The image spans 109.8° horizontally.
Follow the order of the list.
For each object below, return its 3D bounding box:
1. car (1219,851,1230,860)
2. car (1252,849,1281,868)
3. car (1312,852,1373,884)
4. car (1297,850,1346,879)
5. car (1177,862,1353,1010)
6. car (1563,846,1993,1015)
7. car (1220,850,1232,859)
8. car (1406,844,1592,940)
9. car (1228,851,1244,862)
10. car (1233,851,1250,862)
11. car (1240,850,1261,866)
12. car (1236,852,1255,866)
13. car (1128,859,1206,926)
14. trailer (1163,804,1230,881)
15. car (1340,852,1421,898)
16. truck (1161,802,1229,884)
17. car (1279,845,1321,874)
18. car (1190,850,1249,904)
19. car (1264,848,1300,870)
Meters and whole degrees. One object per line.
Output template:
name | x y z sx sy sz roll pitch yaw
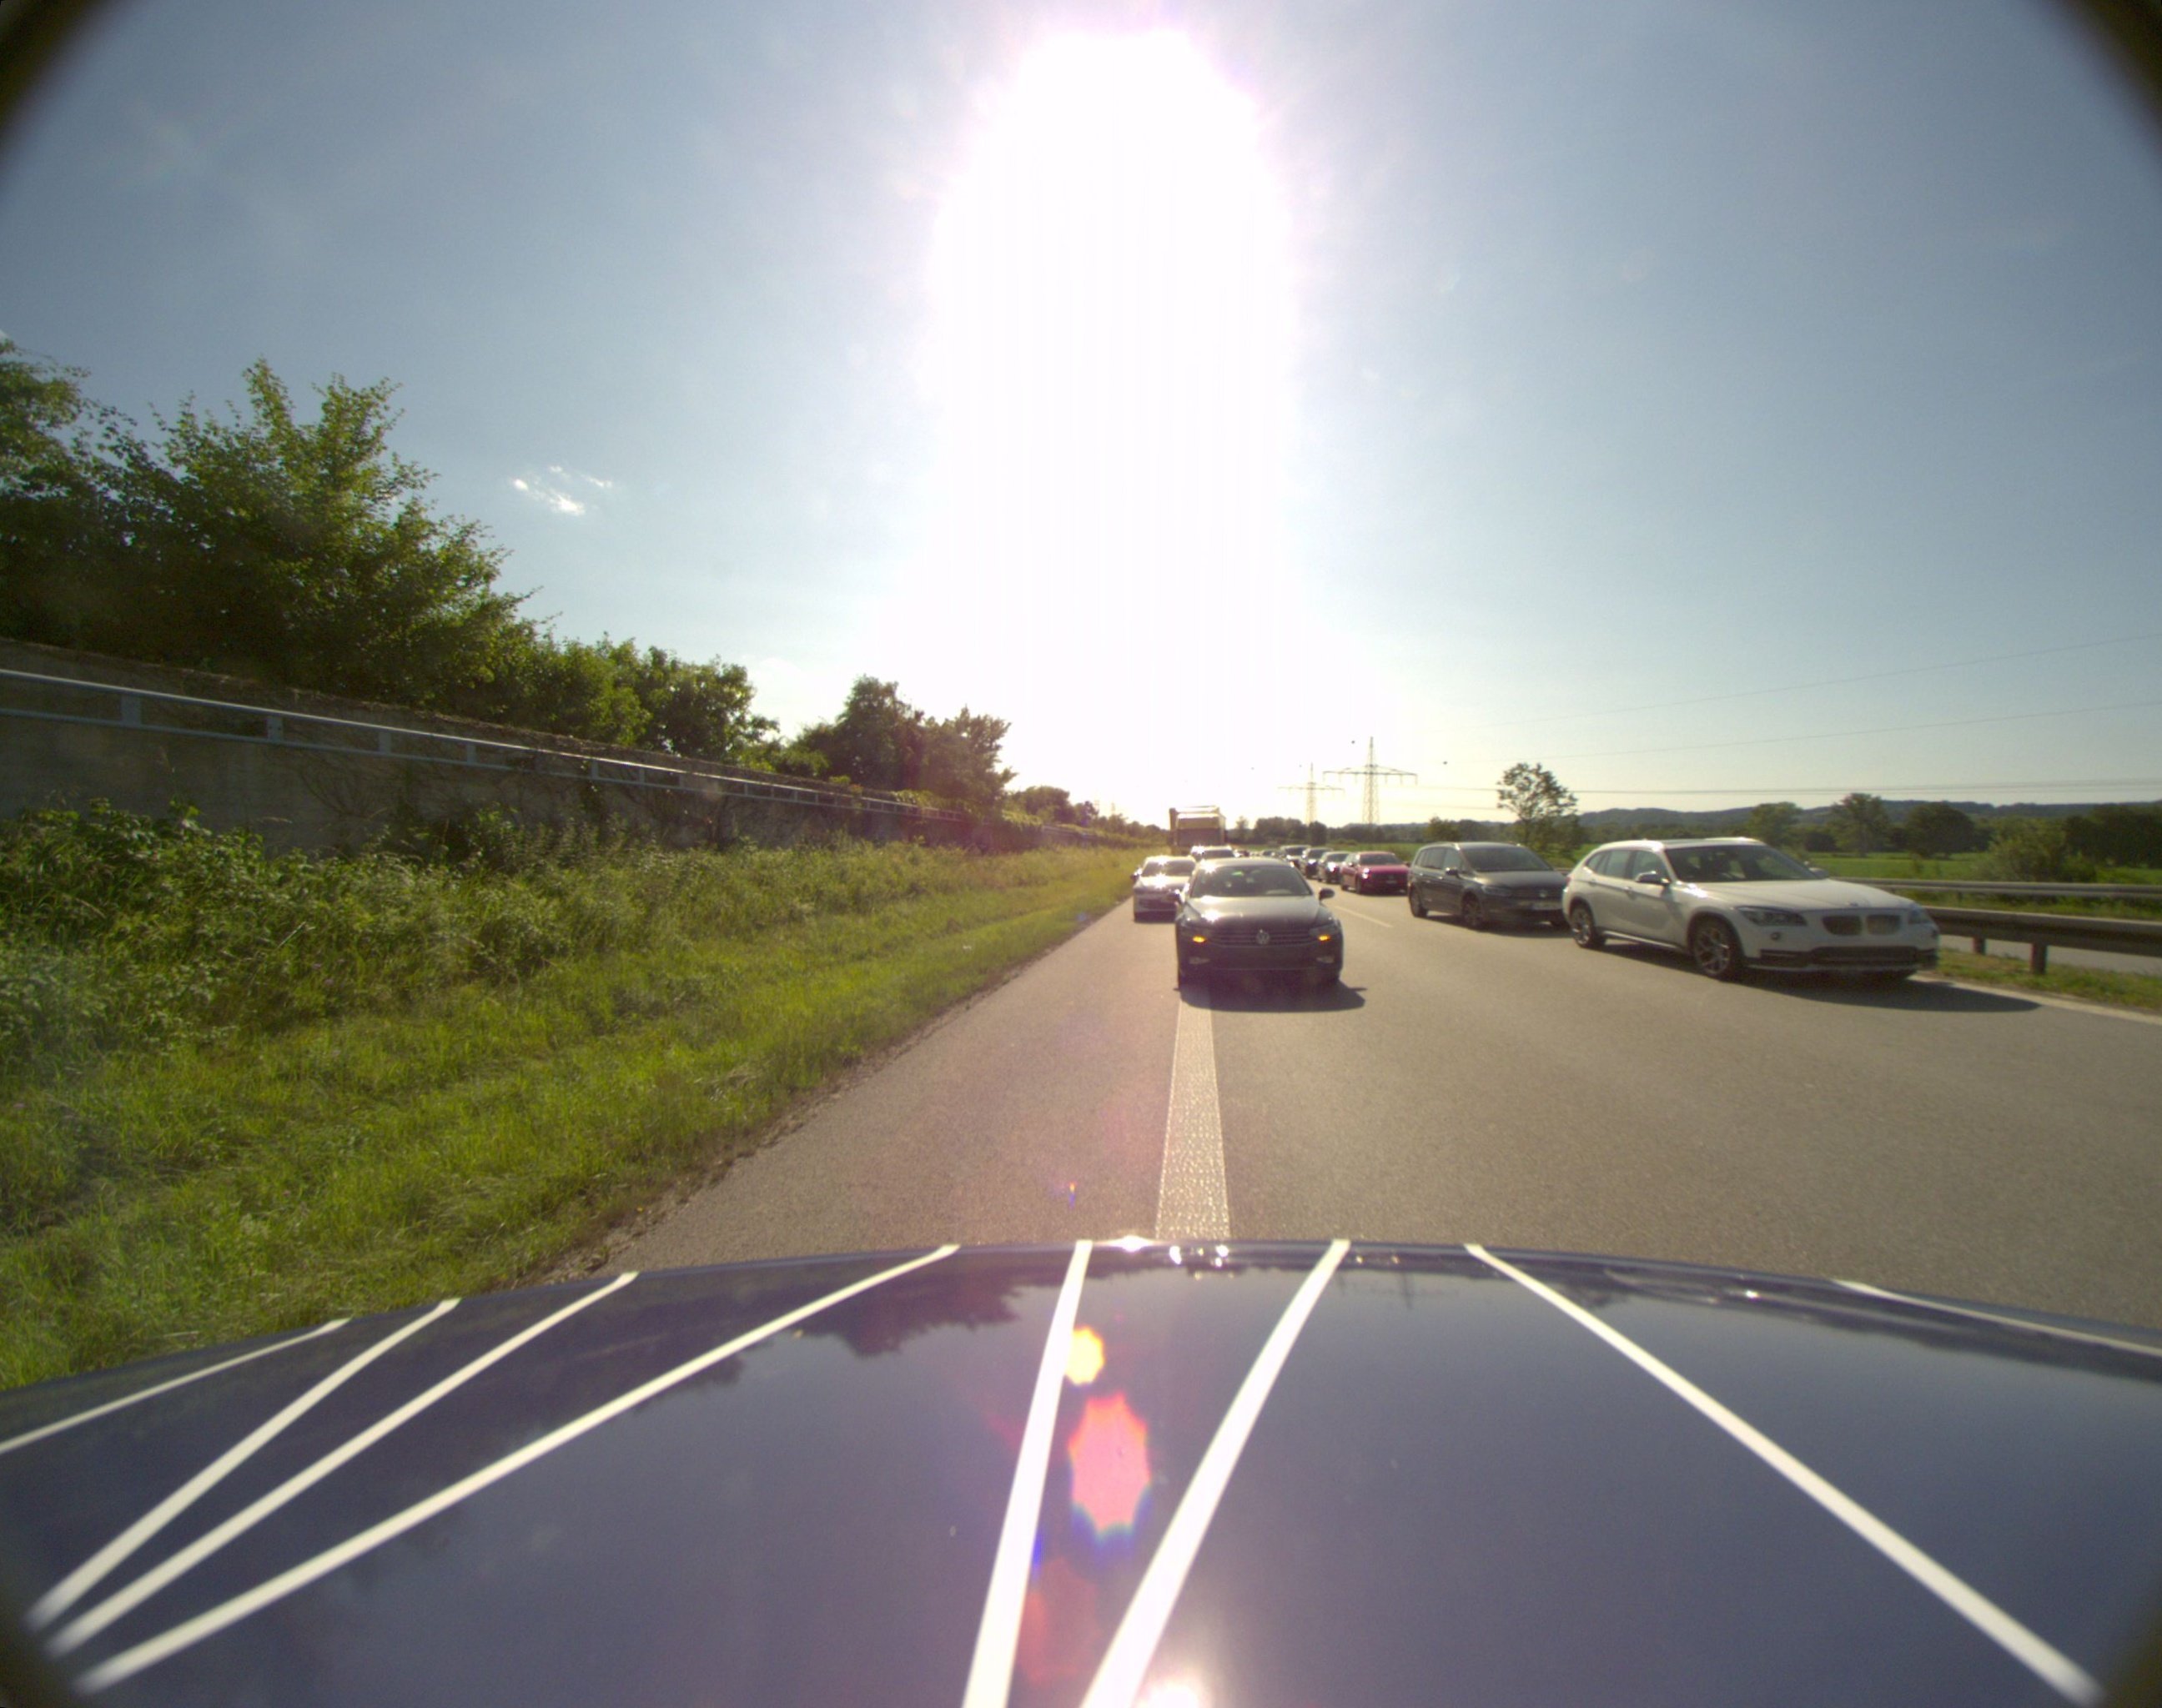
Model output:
car | 24.343 0.238 129.021 1.818 1.450 4.120 0 0 9
car | 15.689 0.370 64.321 1.997 1.522 4.002 0 0 8
car | 11.998 0.611 35.109 1.894 1.390 4.002 0 0 7
car | 12.949 0.538 41.128 1.893 1.447 4.002 0 0 8
car | 2.179 0.874 9.884 1.715 1.405 4.328 -2 0 8
car | 7.851 0.709 9.230 1.831 1.564 4.166 -1 0 9
car | 23.550 0.096 123.426 1.818 1.450 4.120 -2 0 9
car | 7.975 0.637 14.971 1.818 1.606 4.119 -2 0 7
car | 21.026 0.314 103.196 1.818 1.450 4.120 -2 0 8
car | 20.026 0.298 94.822 1.818 1.450 4.120 0 0 9
car | 17.350 0.388 77.731 1.818 1.450 4.120 -2 0 9
car | 18.193 0.567 84.275 1.818 1.450 4.120 0 0 8
car | 2.248 0.880 19.267 1.715 1.417 4.328 -2 0 8
trailer | 7.634 -0.715 48.210 3.385 4.089 13.963 -2 1 12
car | 10.346 0.667 26.547 1.818 1.450 4.120 0 0 9
truck | 6.388 -0.611 42.225 3.331 4.089 6.974 -2 1 10
car | 13.748 0.329 47.956 1.901 1.777 4.202 0 0 7
car | 4.564 0.695 25.469 1.715 1.614 4.328 -2 0 8
car | 14.526 0.347 55.094 1.997 1.522 4.002 0 0 8
